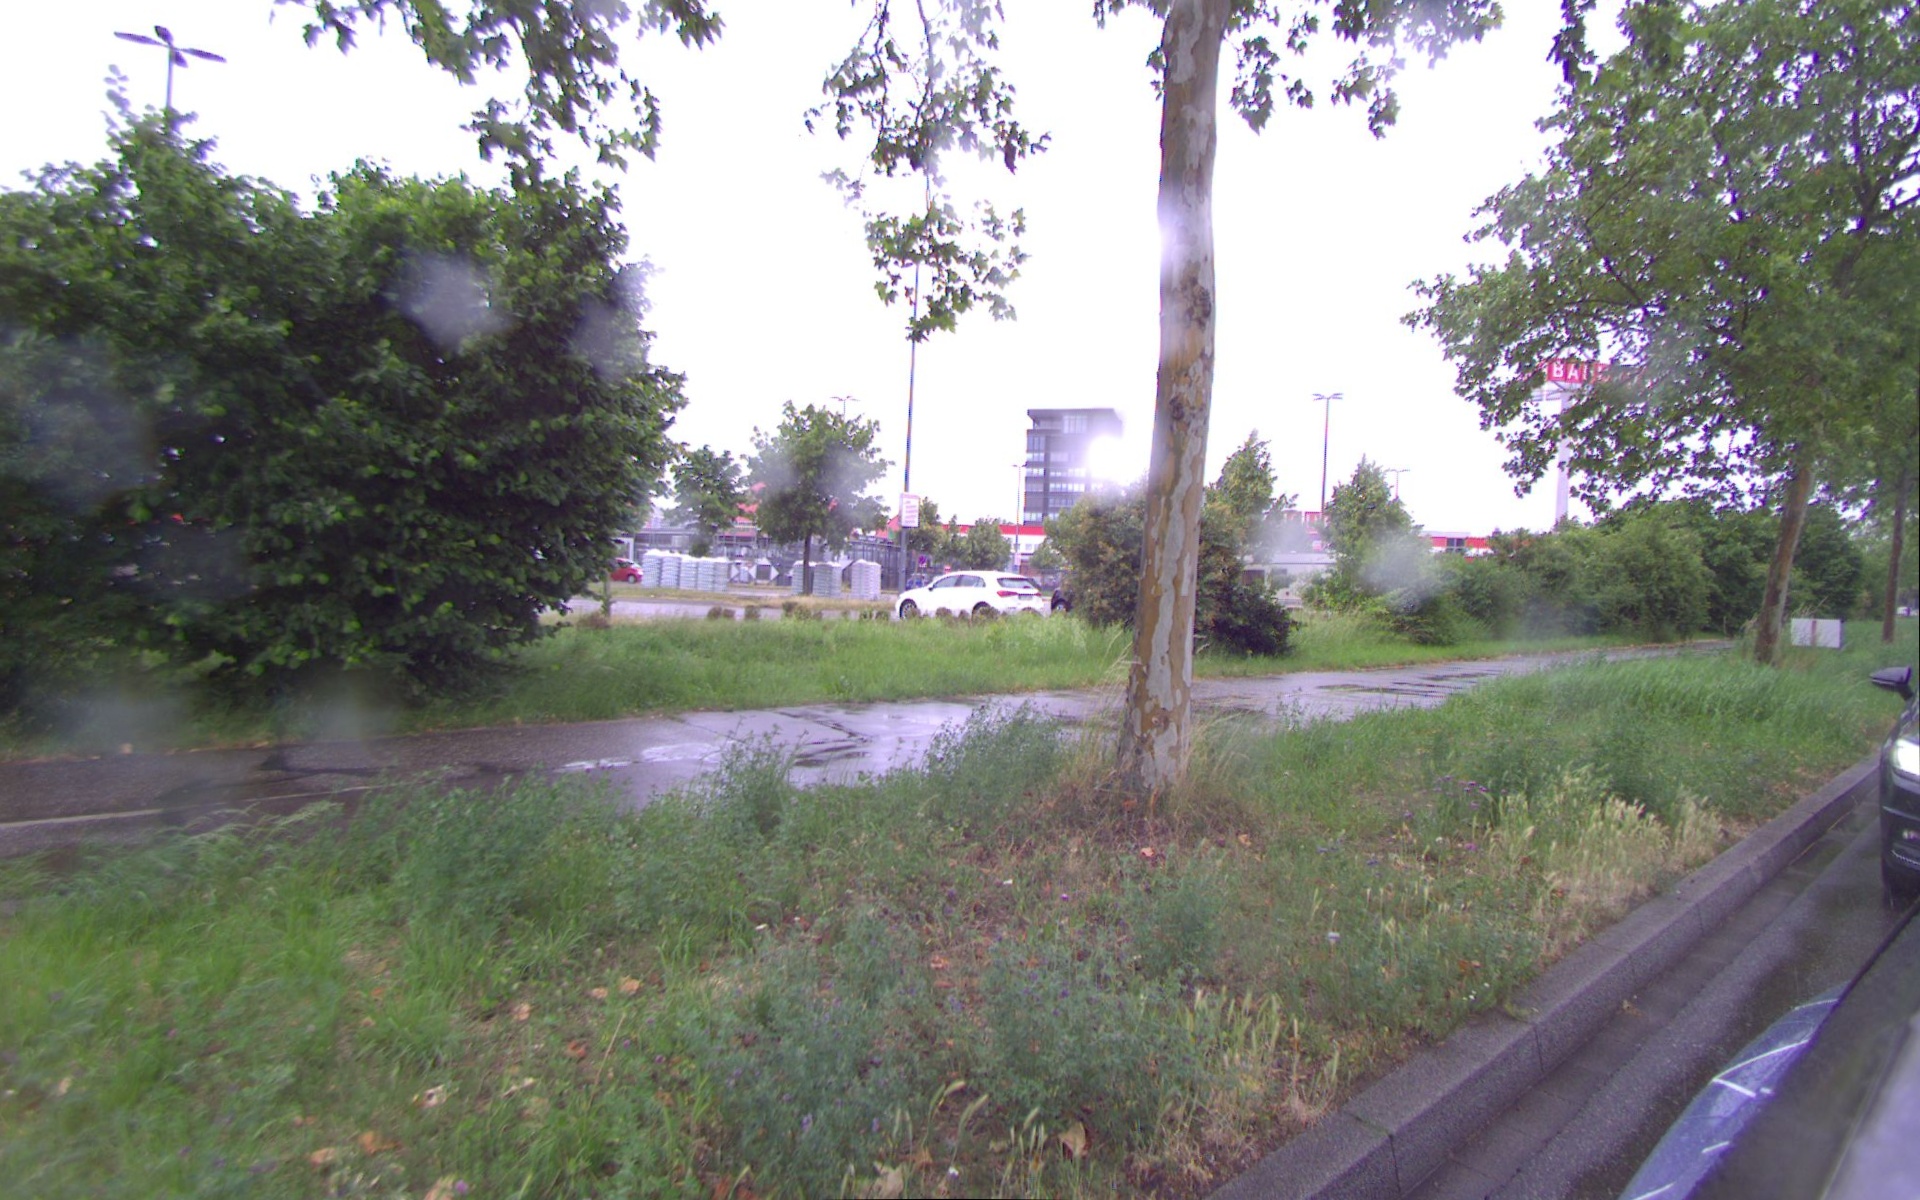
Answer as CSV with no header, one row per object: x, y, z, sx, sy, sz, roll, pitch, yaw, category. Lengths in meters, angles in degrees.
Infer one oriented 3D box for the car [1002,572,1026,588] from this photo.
6.024,-2.271,112.491,1.973,1.697,4.257,2,2,13,car

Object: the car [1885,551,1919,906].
6.566,0.583,5.607,4.548,1.625,1.768,0,0,-43,car

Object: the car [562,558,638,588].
-21.798,-1.647,61.286,3.937,1.749,1.885,1,1,12,car

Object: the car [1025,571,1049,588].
8.519,-2.279,111.890,1.973,1.697,4.257,2,2,13,car

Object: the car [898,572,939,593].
-3.211,-1.397,79.172,1.905,1.571,4.249,2,2,18,car

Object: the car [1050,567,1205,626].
4.939,-0.147,30.287,1.899,1.571,4.262,0,2,-45,car

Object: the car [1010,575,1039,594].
6.048,-1.443,94.715,1.973,1.697,4.255,2,2,14,car

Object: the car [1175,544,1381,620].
10.964,-0.698,35.275,6.399,2.392,2.357,3,2,41,car

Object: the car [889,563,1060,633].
0.298,-0.106,25.932,1.899,1.571,4.262,0,2,-45,car

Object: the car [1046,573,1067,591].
9.366,-1.784,98.295,1.968,1.697,4.268,2,2,5,car
